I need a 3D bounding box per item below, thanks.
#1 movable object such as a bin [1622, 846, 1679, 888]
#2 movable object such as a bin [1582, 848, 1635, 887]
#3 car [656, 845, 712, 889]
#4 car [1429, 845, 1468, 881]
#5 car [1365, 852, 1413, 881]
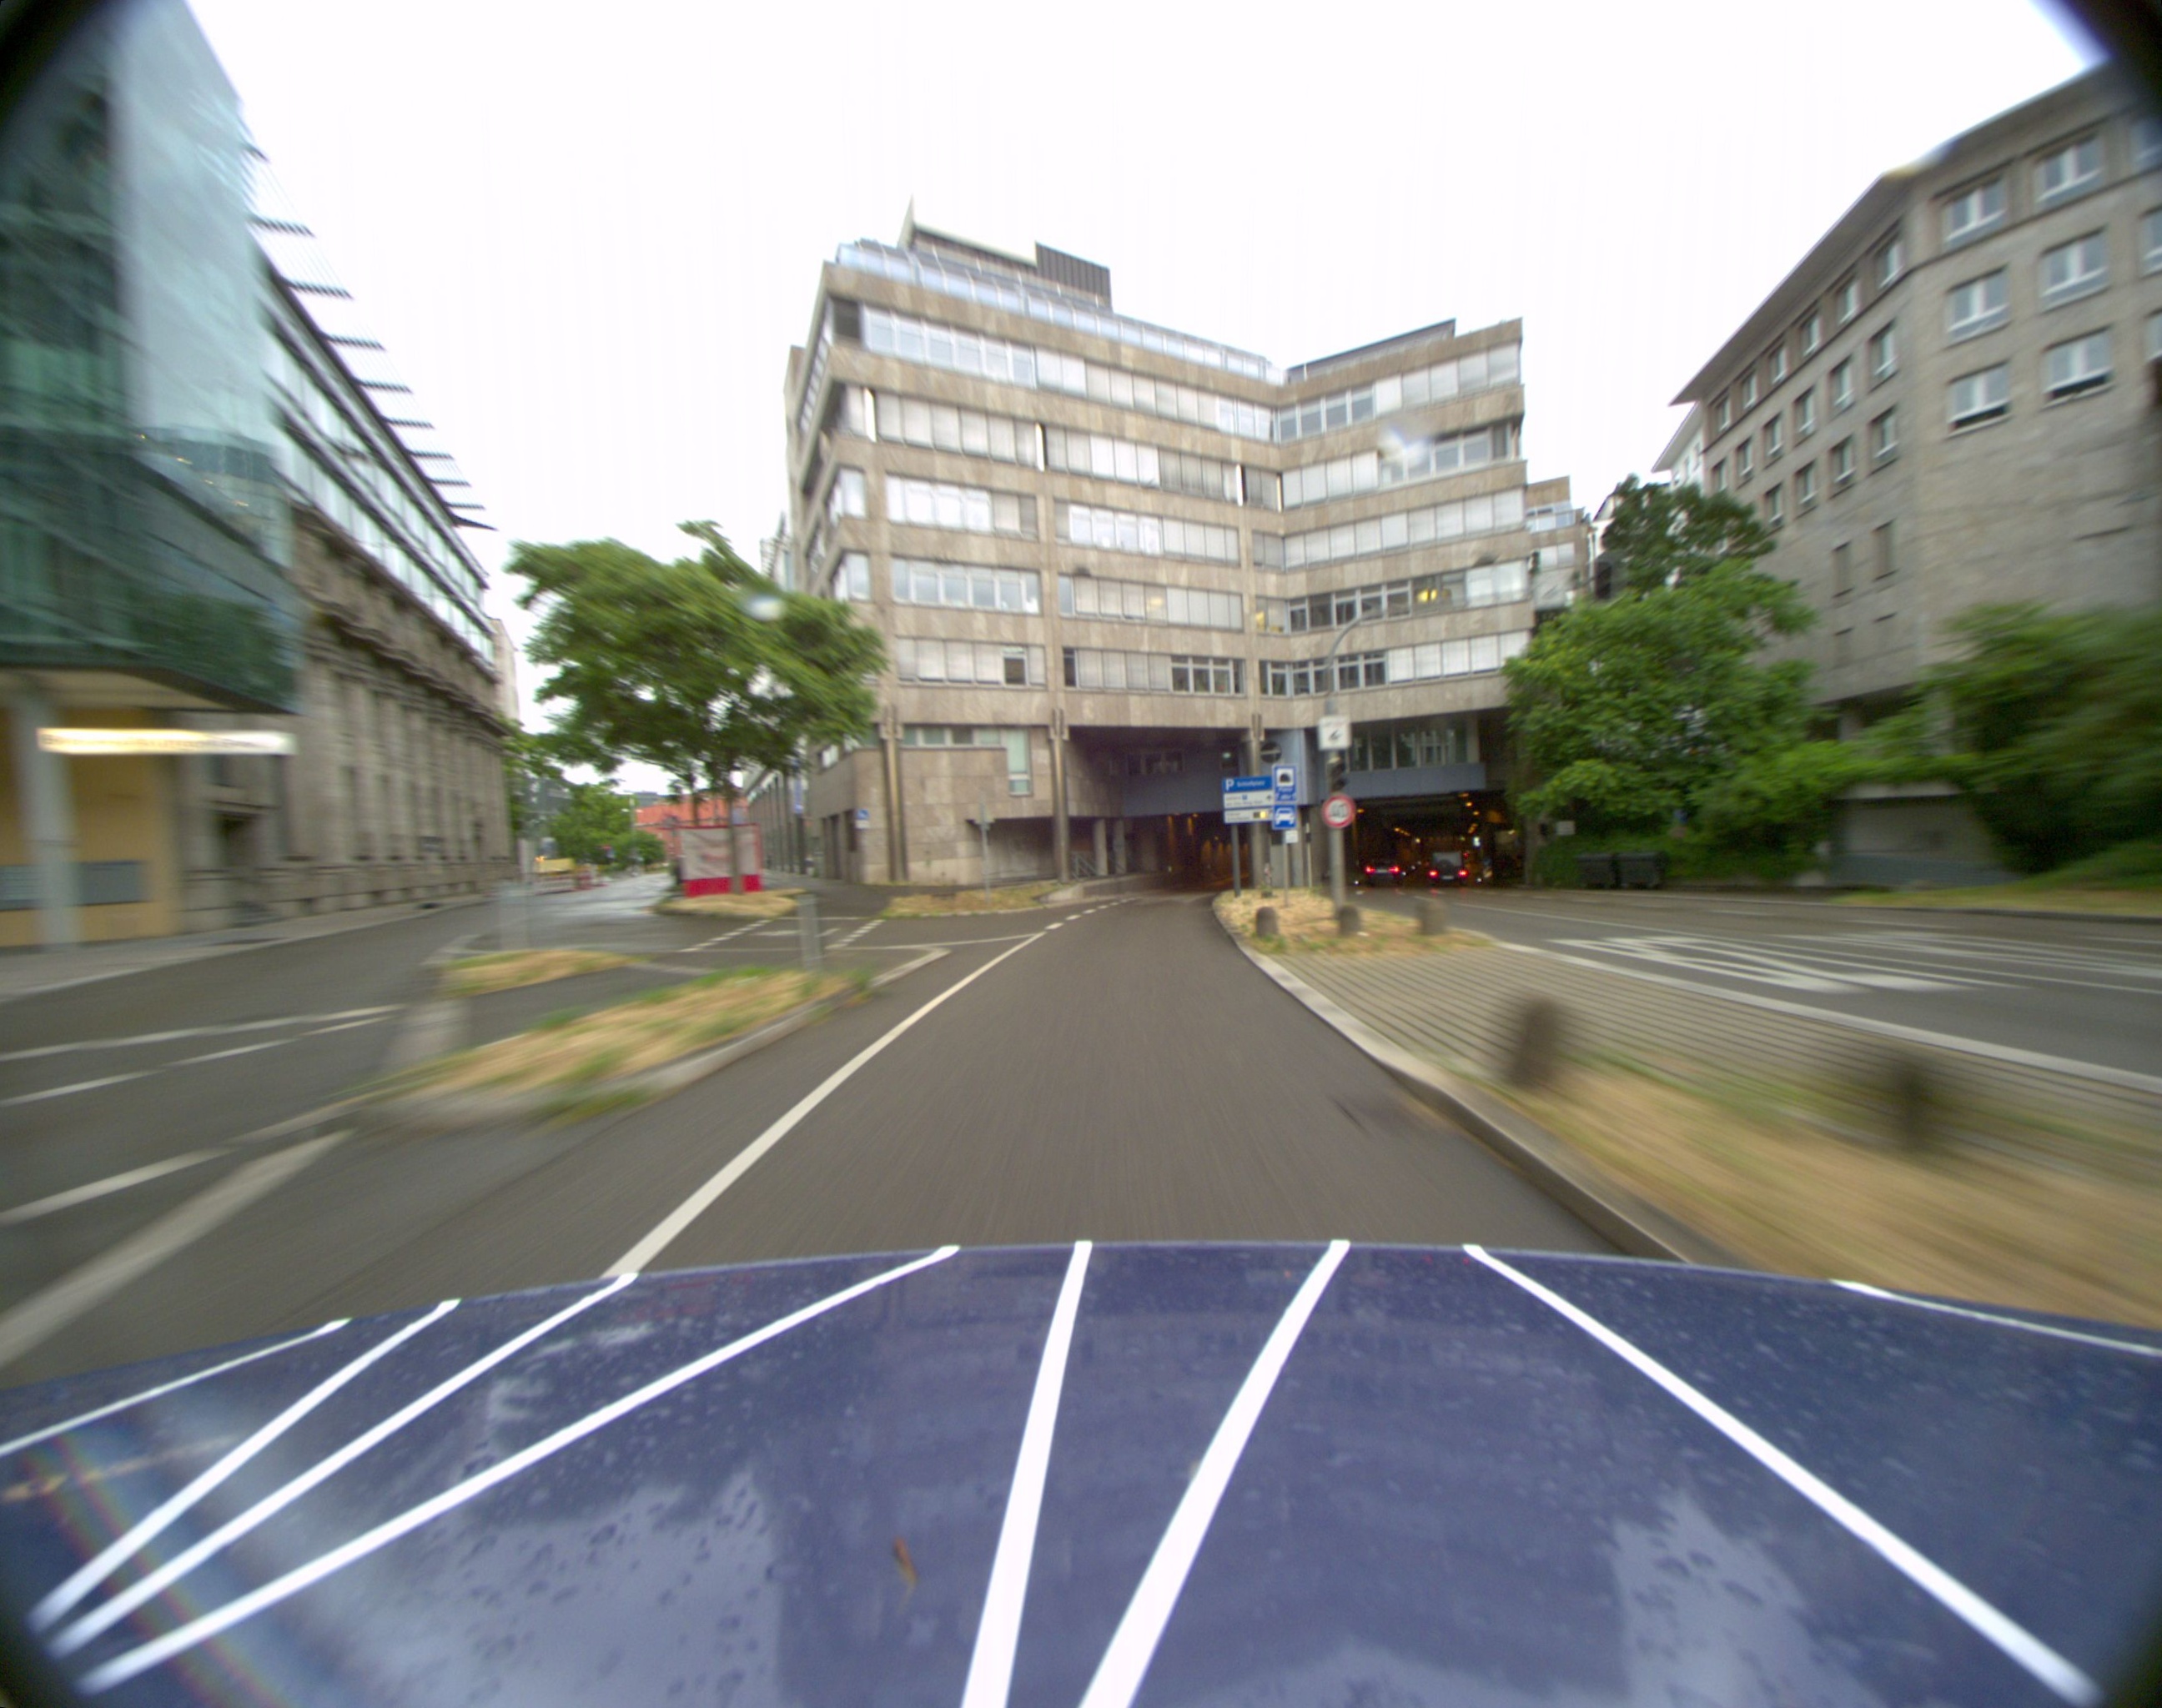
[{"bbox_3d":[21.119,0.468,28.181,1.298,1.442,1.205,-3,1,-28],"label":"movable object such as a bin"},{"bbox_3d":[20.418,0.508,29.427,1.169,1.442,1.336,-3,1,-36],"label":"movable object such as a bin"},{"bbox_3d":[-20.916,0.641,40.236,2.001,2.068,3.992,-5,2,-21],"label":"car"},{"bbox_3d":[20.753,0.524,42.794,1.838,1.910,4.651,-1,-1,27],"label":"car"},{"bbox_3d":[18.120,0.725,44.611,1.846,1.578,4.398,-2,-1,32],"label":"car"}]
